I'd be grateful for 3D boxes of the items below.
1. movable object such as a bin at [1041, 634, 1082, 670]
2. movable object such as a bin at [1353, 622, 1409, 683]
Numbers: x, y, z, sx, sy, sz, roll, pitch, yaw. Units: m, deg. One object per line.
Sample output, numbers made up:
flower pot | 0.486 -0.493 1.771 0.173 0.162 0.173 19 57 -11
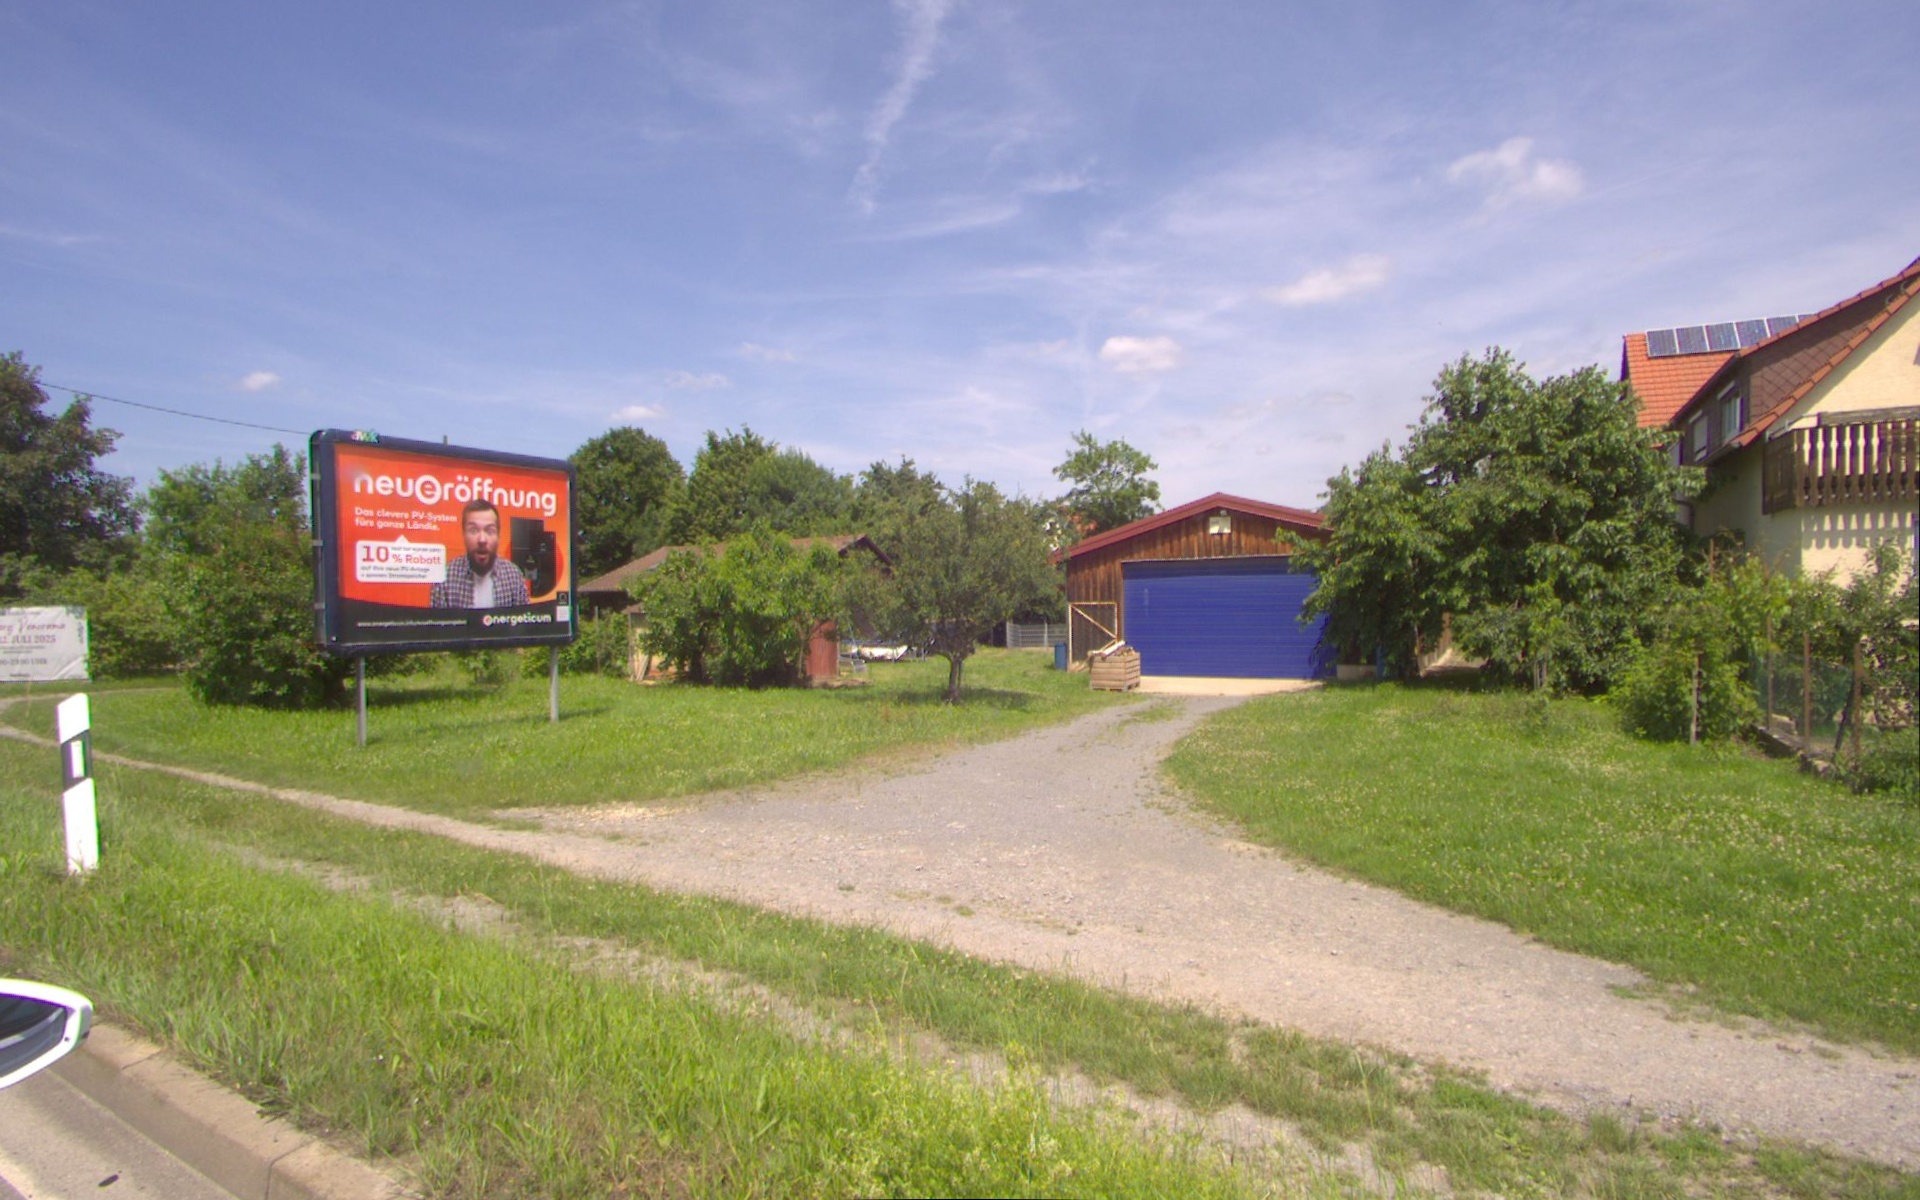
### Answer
movable object such as a bin | 3.101 1.576 30.480 1.044 1.046 1.040 0 -1 17
movable object such as a bin | 10.225 1.256 24.306 1.049 1.415 1.271 0 -1 33
